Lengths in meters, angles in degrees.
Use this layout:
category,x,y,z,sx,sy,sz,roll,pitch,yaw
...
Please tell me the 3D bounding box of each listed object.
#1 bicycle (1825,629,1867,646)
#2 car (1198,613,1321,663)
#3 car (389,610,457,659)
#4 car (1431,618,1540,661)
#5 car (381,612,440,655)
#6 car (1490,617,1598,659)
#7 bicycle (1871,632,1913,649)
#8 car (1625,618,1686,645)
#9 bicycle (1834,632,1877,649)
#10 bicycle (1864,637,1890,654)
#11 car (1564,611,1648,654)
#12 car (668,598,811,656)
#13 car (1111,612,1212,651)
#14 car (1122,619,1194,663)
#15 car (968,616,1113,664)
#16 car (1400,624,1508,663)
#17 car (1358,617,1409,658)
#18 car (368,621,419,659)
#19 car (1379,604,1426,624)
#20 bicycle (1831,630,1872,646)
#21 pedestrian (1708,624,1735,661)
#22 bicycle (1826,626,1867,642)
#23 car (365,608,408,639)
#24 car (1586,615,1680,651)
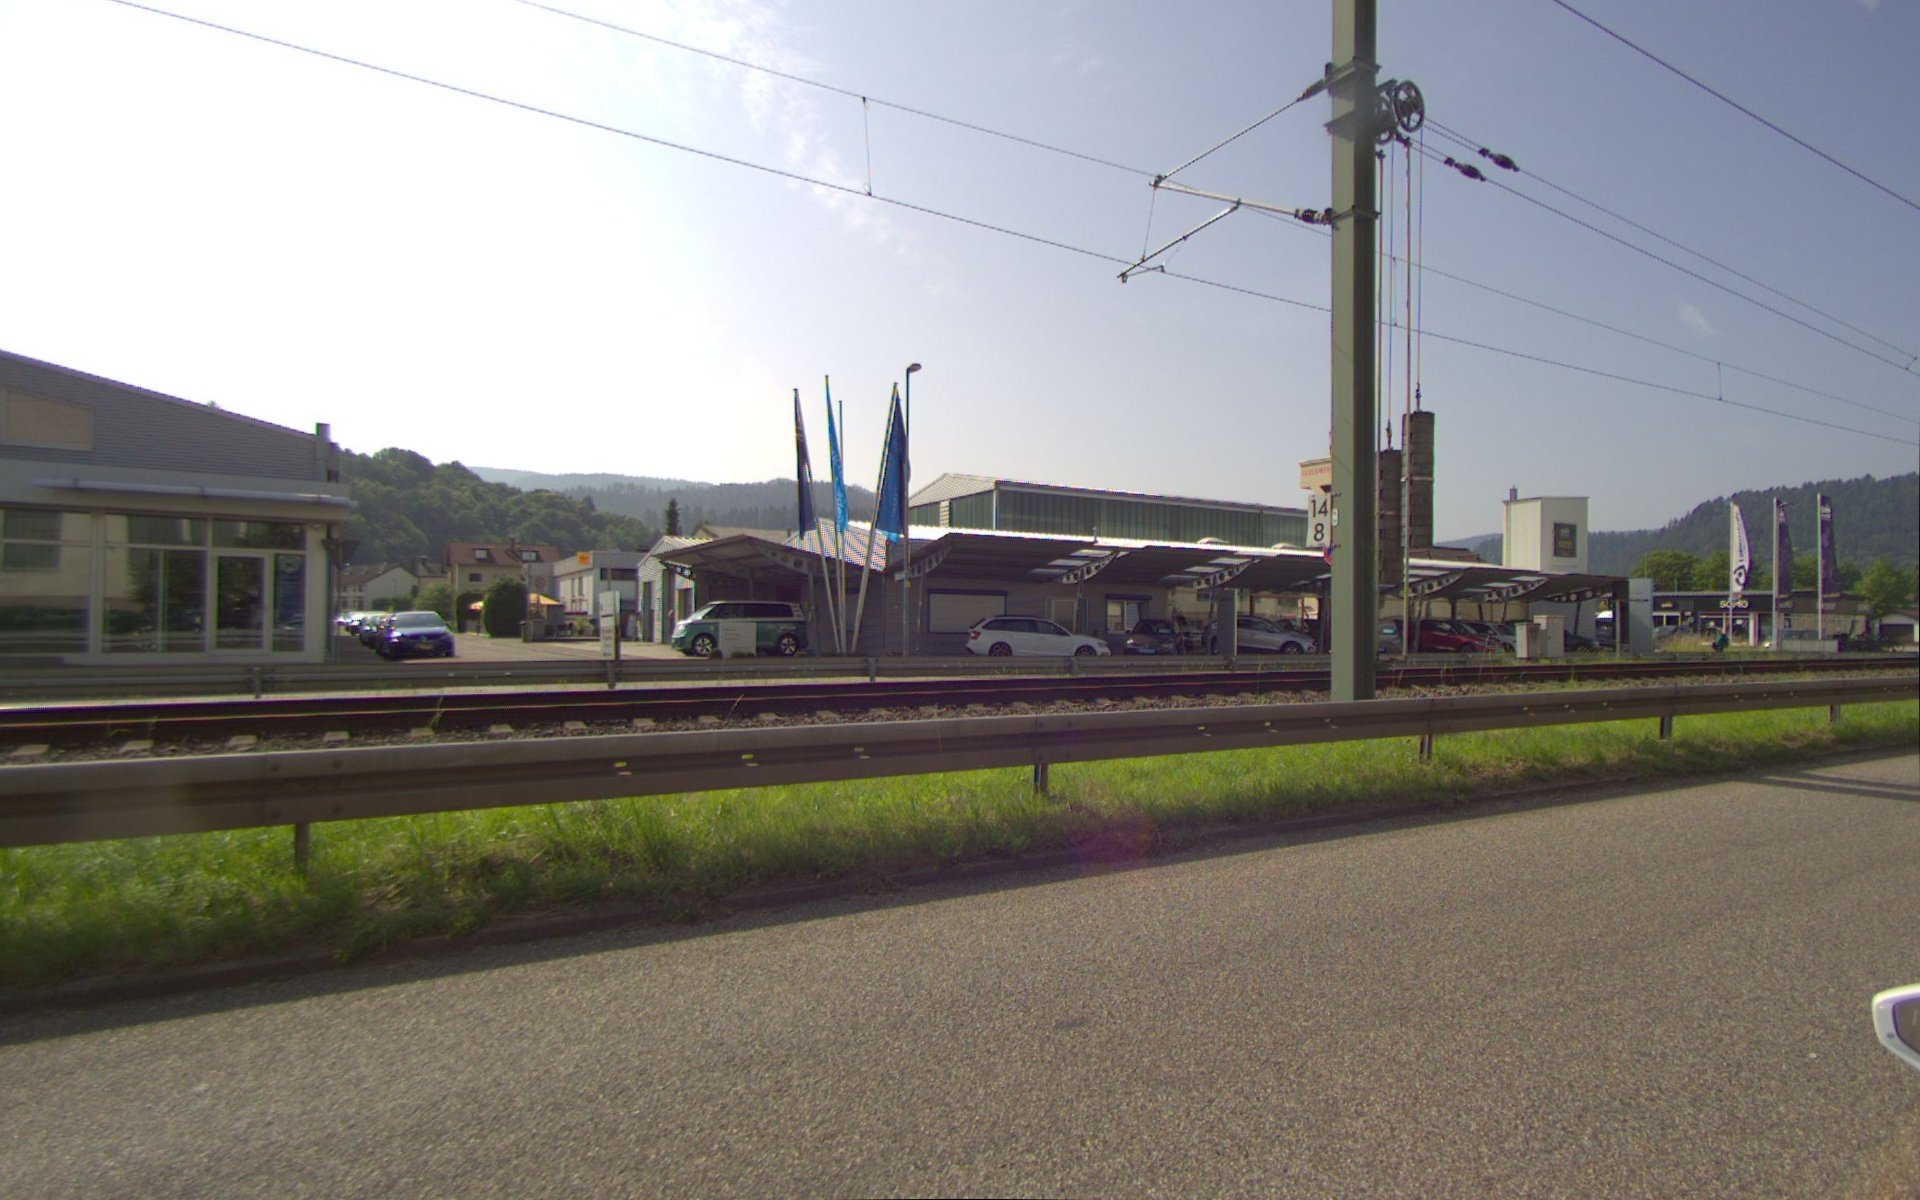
category,x,y,z,sx,sy,sz,roll,pitch,yaw
bicycle,64.277,2.700,72.875,0.721,1.145,2.159,2,-1,-27
car,11.177,1.372,37.474,4.188,1.548,1.847,3,2,21
car,-17.016,1.052,31.755,1.602,1.439,3.964,1,-1,-33
car,23.063,1.705,44.208,1.643,1.548,3.937,1,2,-30
car,-19.762,1.160,36.073,1.602,1.439,3.964,1,-1,-33
car,27.002,1.739,46.567,3.950,1.644,1.664,3,2,14
bicycle,68.149,2.950,73.481,0.723,1.145,2.151,2,-1,-37
car,46.096,2.079,66.556,3.954,1.685,1.858,3,-2,-31
bicycle,62.591,2.852,70.227,2.275,1.145,0.731,1,-1,7
bicycle,65.154,3.235,71.384,2.148,1.145,0.724,2,-1,-30
car,44.235,2.241,68.762,6.089,2.667,2.361,3,-2,-30
car,-7.619,0.940,34.823,4.499,1.882,1.890,1,-1,-30
car,8.402,1.283,42.217,1.887,1.525,4.142,1,-1,-31
car,6.848,1.361,34.373,1.811,1.360,4.209,1,-1,20
car,2.476,1.251,31.762,4.433,1.404,1.848,1,-1,1
car,20.885,1.810,42.612,1.484,1.343,3.937,1,2,-30
car,17.147,1.473,40.668,1.812,1.525,4.432,0,-1,23
car,-23.542,1.631,41.683,1.602,1.439,3.964,1,-1,-33
car,30.181,0.940,68.488,3.453,1.315,1.443,1,-1,-36
bicycle,65.724,2.780,74.051,0.723,1.145,2.151,2,-1,-37
pedestrian,37.158,2.064,48.999,0.826,1.757,0.798,1,-1,-30
bicycle,64.913,2.502,73.537,0.723,1.145,2.151,2,-1,-37
car,-27.494,1.106,48.090,1.602,1.439,3.964,1,-1,-33
car,36.259,1.754,54.228,3.926,1.550,1.522,5,1,27
